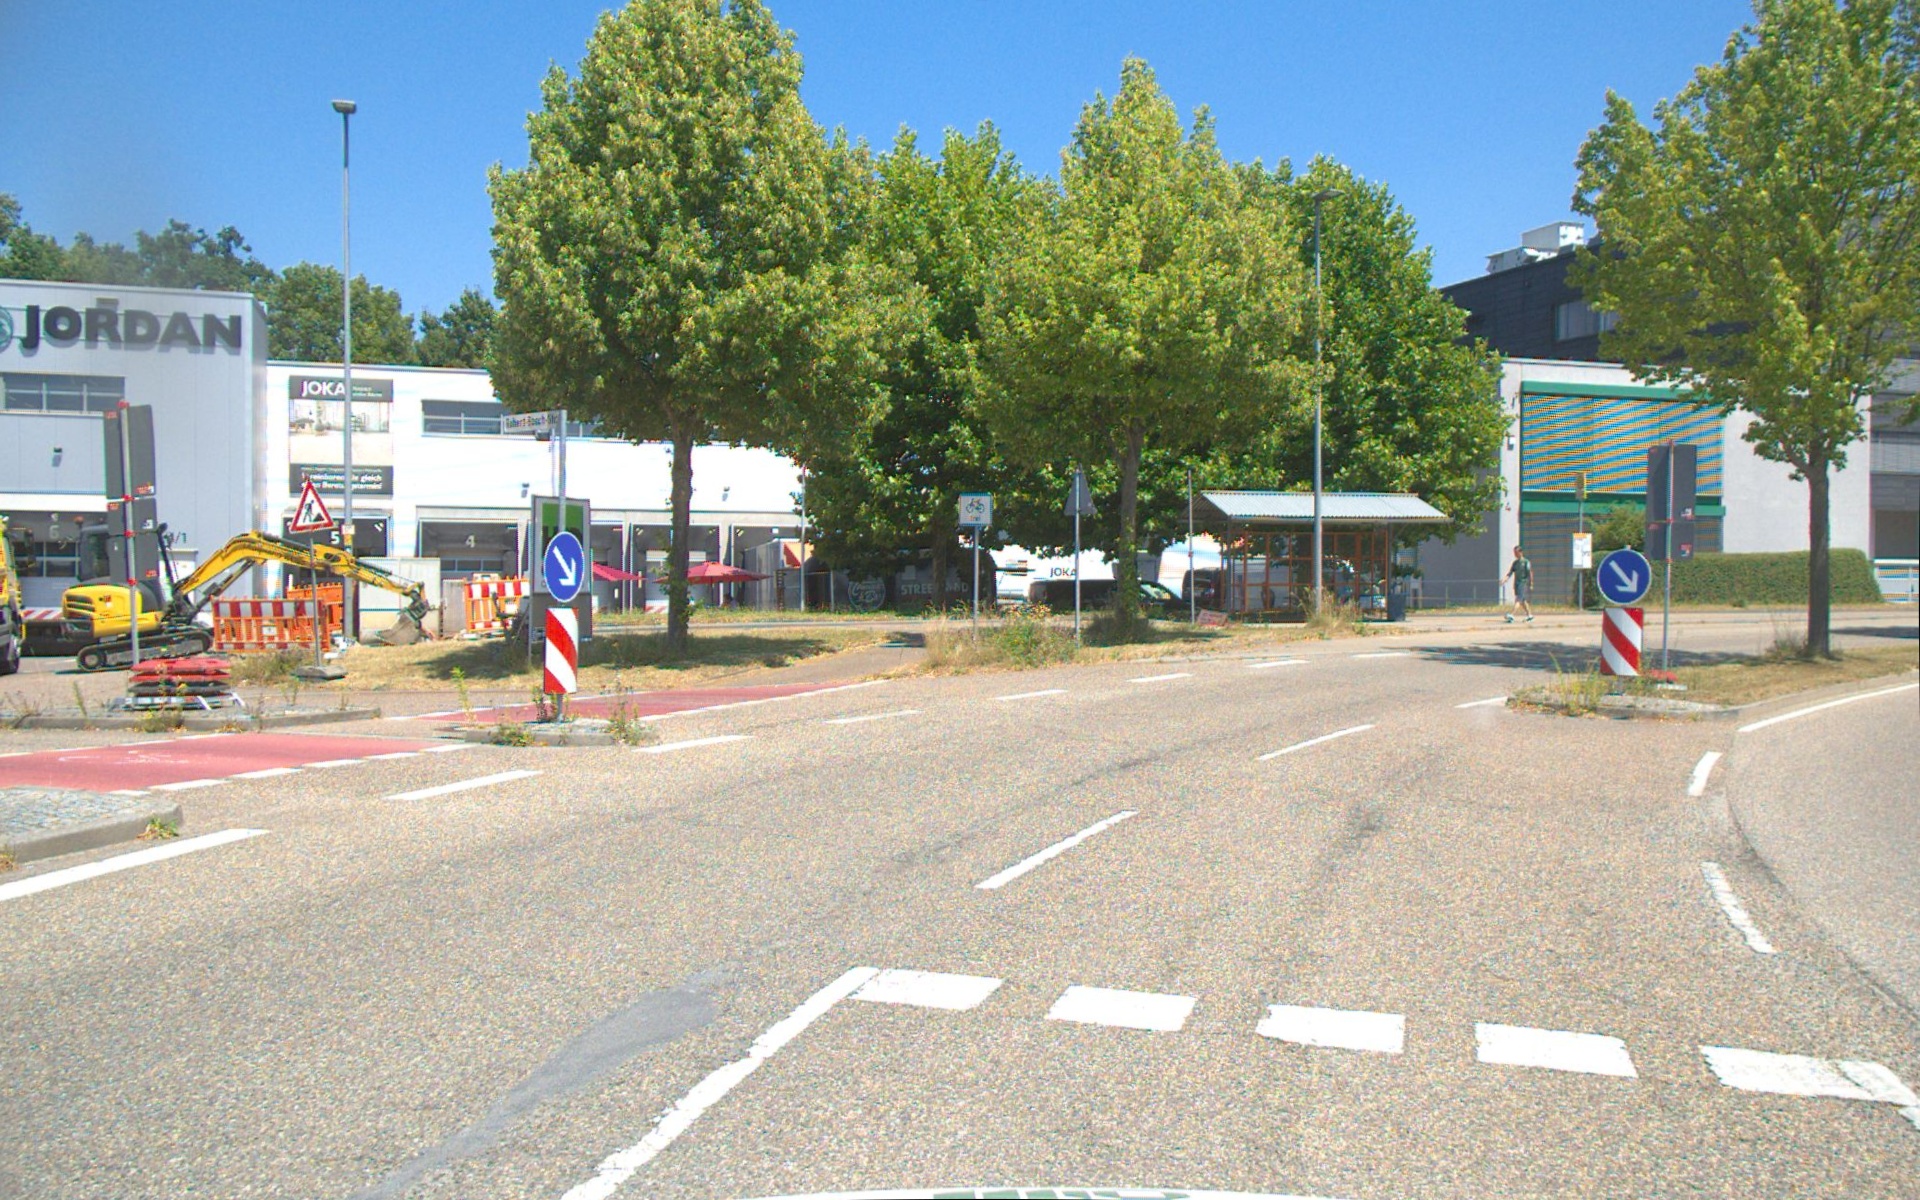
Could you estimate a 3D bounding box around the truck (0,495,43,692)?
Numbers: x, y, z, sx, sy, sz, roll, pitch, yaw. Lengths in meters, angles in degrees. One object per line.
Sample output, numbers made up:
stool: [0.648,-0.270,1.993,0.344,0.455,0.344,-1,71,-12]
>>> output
truck: [-17.309,-0.098,27.589,2.552,3.190,6.383,-3,4,-22]

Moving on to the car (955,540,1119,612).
car: [2.011,-0.632,43.650,3.923,1.758,1.832,-2,0,-17]

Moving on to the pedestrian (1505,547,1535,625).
pedestrian: [12.434,-0.299,36.720,0.518,1.699,0.580,1,-2,9]

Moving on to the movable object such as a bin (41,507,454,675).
movable object such as a bin: [-12.606,-0.194,29.760,6.445,2.626,1.993,-3,0,-14]

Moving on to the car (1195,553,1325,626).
car: [8.917,-0.274,49.504,1.527,2.049,4.224,2,-2,-29]

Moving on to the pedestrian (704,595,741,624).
pedestrian: [-6.087,0.240,42.428,0.845,0.707,0.408,-1,0,5]
